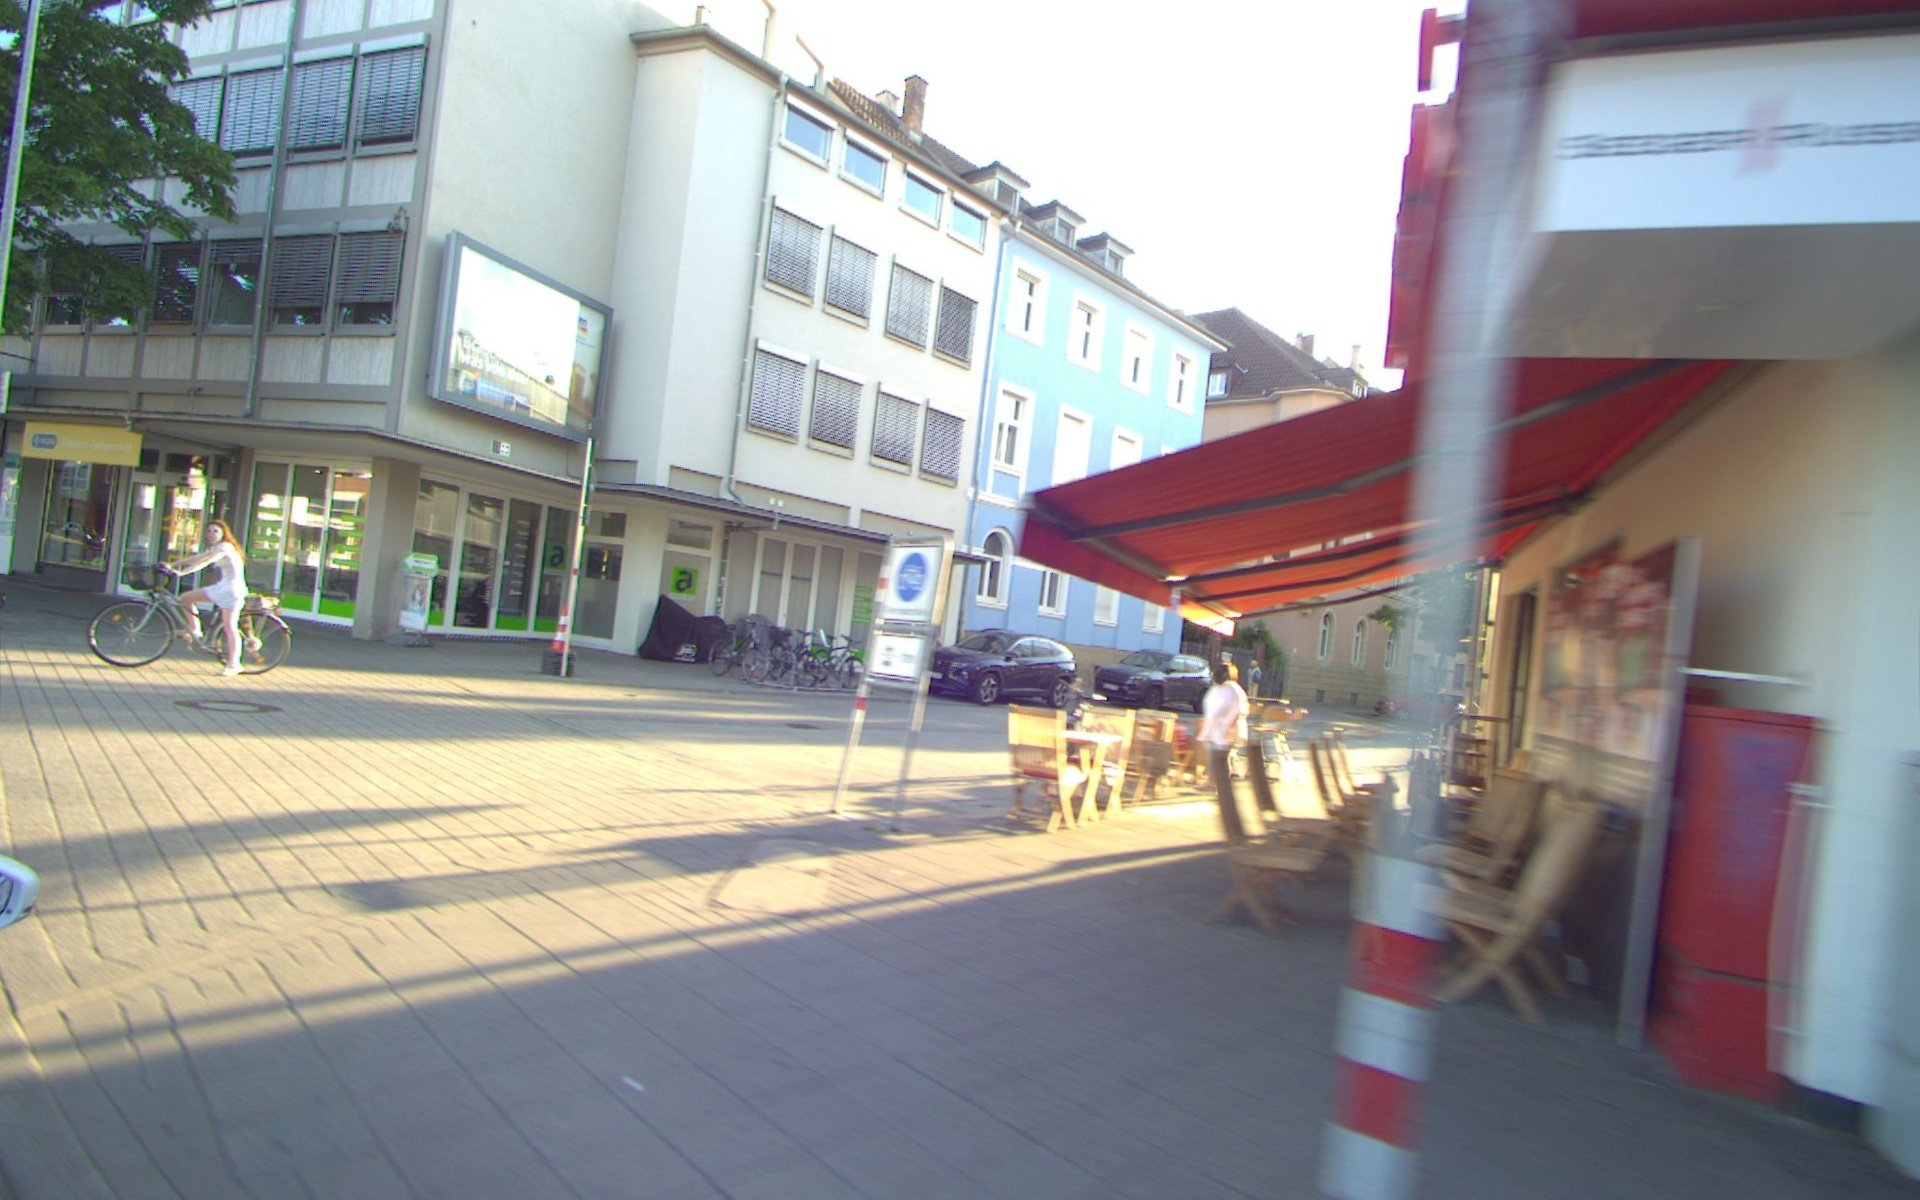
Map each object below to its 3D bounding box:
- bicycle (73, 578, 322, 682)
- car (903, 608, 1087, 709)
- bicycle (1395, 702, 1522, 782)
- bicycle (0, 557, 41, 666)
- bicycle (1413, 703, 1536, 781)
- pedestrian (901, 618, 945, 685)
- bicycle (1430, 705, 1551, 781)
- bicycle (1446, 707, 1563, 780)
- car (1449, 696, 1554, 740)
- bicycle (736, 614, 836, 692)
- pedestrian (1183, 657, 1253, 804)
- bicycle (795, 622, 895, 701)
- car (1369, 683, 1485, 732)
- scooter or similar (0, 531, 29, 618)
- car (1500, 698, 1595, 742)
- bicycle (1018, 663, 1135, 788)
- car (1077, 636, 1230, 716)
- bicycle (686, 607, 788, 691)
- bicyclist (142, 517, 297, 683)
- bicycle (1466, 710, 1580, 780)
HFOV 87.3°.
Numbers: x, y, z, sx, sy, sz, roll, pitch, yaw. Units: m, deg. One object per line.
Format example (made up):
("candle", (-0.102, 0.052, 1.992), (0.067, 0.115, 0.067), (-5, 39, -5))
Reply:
("bicycle", (-8.194, 0.343, 10.879), (0.830, 0.891, 2.002), (5, -2, 45))
("car", (0.876, 1.395, 23.376), (1.868, 1.771, 3.979), (11, 1, 44))
("bicycle", (10.199, 2.888, 20.638), (2.085, 1.235, 0.701), (7, 0, 44))
("bicycle", (-10.241, -0.004, 9.505), (2.046, 1.032, 0.838), (7, -1, -16))
("bicycle", (10.833, 2.977, 21.241), (2.085, 1.235, 0.701), (7, 0, 44))
("pedestrian", (-0.901, 1.264, 24.740), (0.668, 1.544, 0.597), (8, 0, 43))
("bicycle", (11.445, 3.067, 21.777), (2.085, 1.235, 0.701), (7, 0, 44))
("bicycle", (12.249, 3.212, 22.683), (2.085, 1.235, 0.701), (7, 0, 44))
("car", (24.916, 5.426, 46.448), (3.927, 1.403, 2.001), (6, -2, 22))
("bicycle", (-3.419, 1.016, 19.663), (2.085, 1.235, 0.701), (7, 0, 44))
("pedestrian", (2.949, 1.470, 11.466), (0.563, 1.560, 0.573), (6, -1, 21))
("bicycle", (-2.353, 1.223, 20.358), (2.085, 1.235, 0.701), (9, 1, 44))
("car", (19.738, 4.535, 42.680), (3.923, 1.448, 2.002), (7, -1, 8))
("scooter or similar", (-14.473, -0.442, 14.595), (1.263, 1.249, 0.336), (7, -1, -27))
("car", (31.387, 6.383, 53.860), (3.925, 1.730, 2.001), (6, -1, 18))
("bicycle", (1.470, 1.487, 12.280), (0.692, 1.302, 2.113), (6, -2, 24))
("car", (5.538, 2.180, 28.453), (4.407, 1.771, 1.870), (8, -1, -44))
("bicycle", (-4.212, 0.900, 18.894), (2.084, 1.235, 0.701), (10, 2, 44))
("bicyclist", (-8.054, 0.007, 10.955), (1.108, 1.642, 0.830), (8, -1, -45))
("bicycle", (13.145, 3.377, 23.535), (2.085, 1.235, 0.701), (7, 0, 44))
